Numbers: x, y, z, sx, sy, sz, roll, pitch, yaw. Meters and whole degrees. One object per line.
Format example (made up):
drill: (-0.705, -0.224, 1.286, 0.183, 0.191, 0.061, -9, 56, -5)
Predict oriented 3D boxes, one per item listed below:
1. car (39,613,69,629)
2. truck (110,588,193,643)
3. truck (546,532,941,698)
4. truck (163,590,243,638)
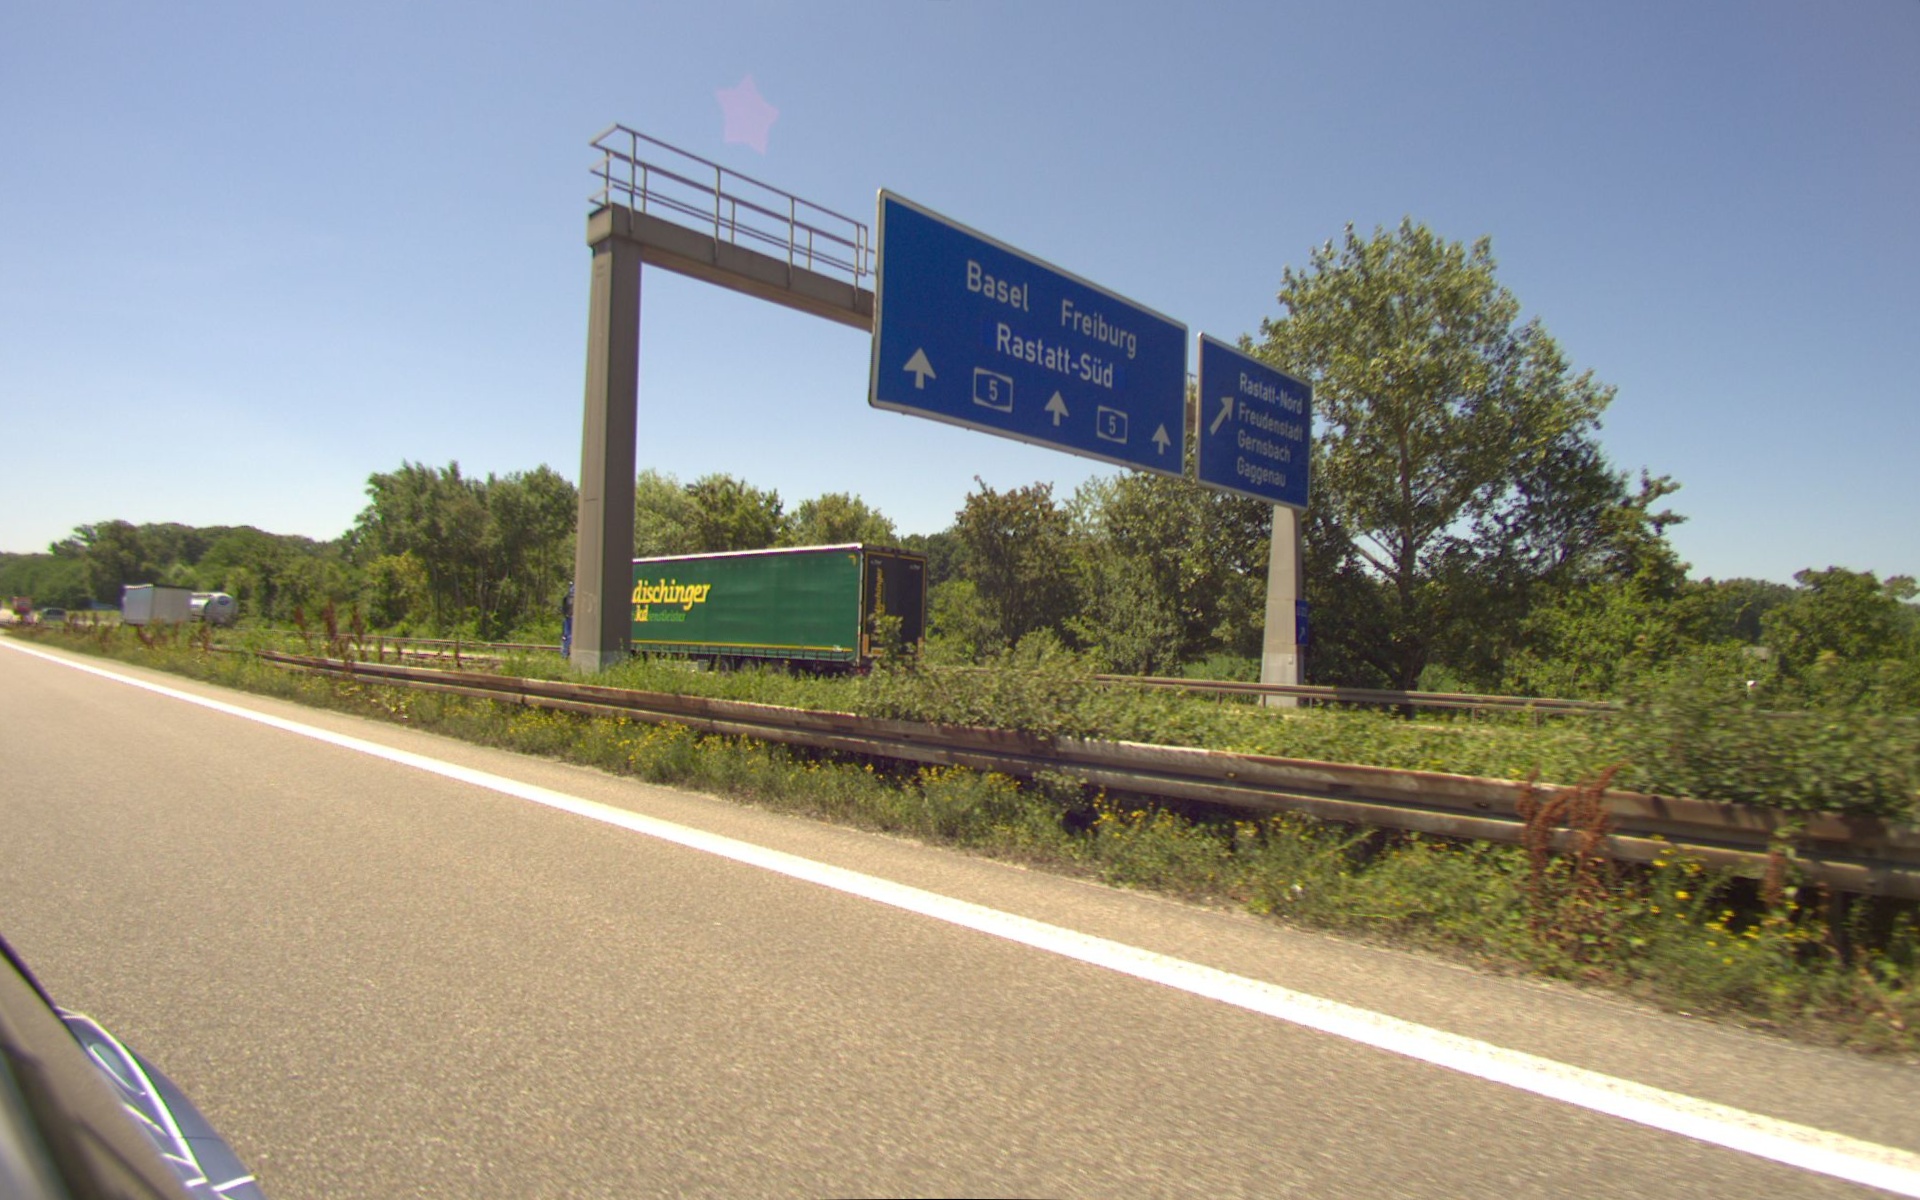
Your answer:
car: (-94.079, 2.205, 105.060, 4.819, 1.602, 1.971, -1, -3, 44)
truck: (-69.143, 1.340, 86.299, 17.181, 4.278, 2.923, -1, -3, 43)
truck: (-8.247, 0.542, 33.939, 18.241, 4.375, 2.923, -1, -3, 43)
truck: (-69.152, 1.280, 92.275, 15.820, 4.049, 2.923, -1, -3, 43)
